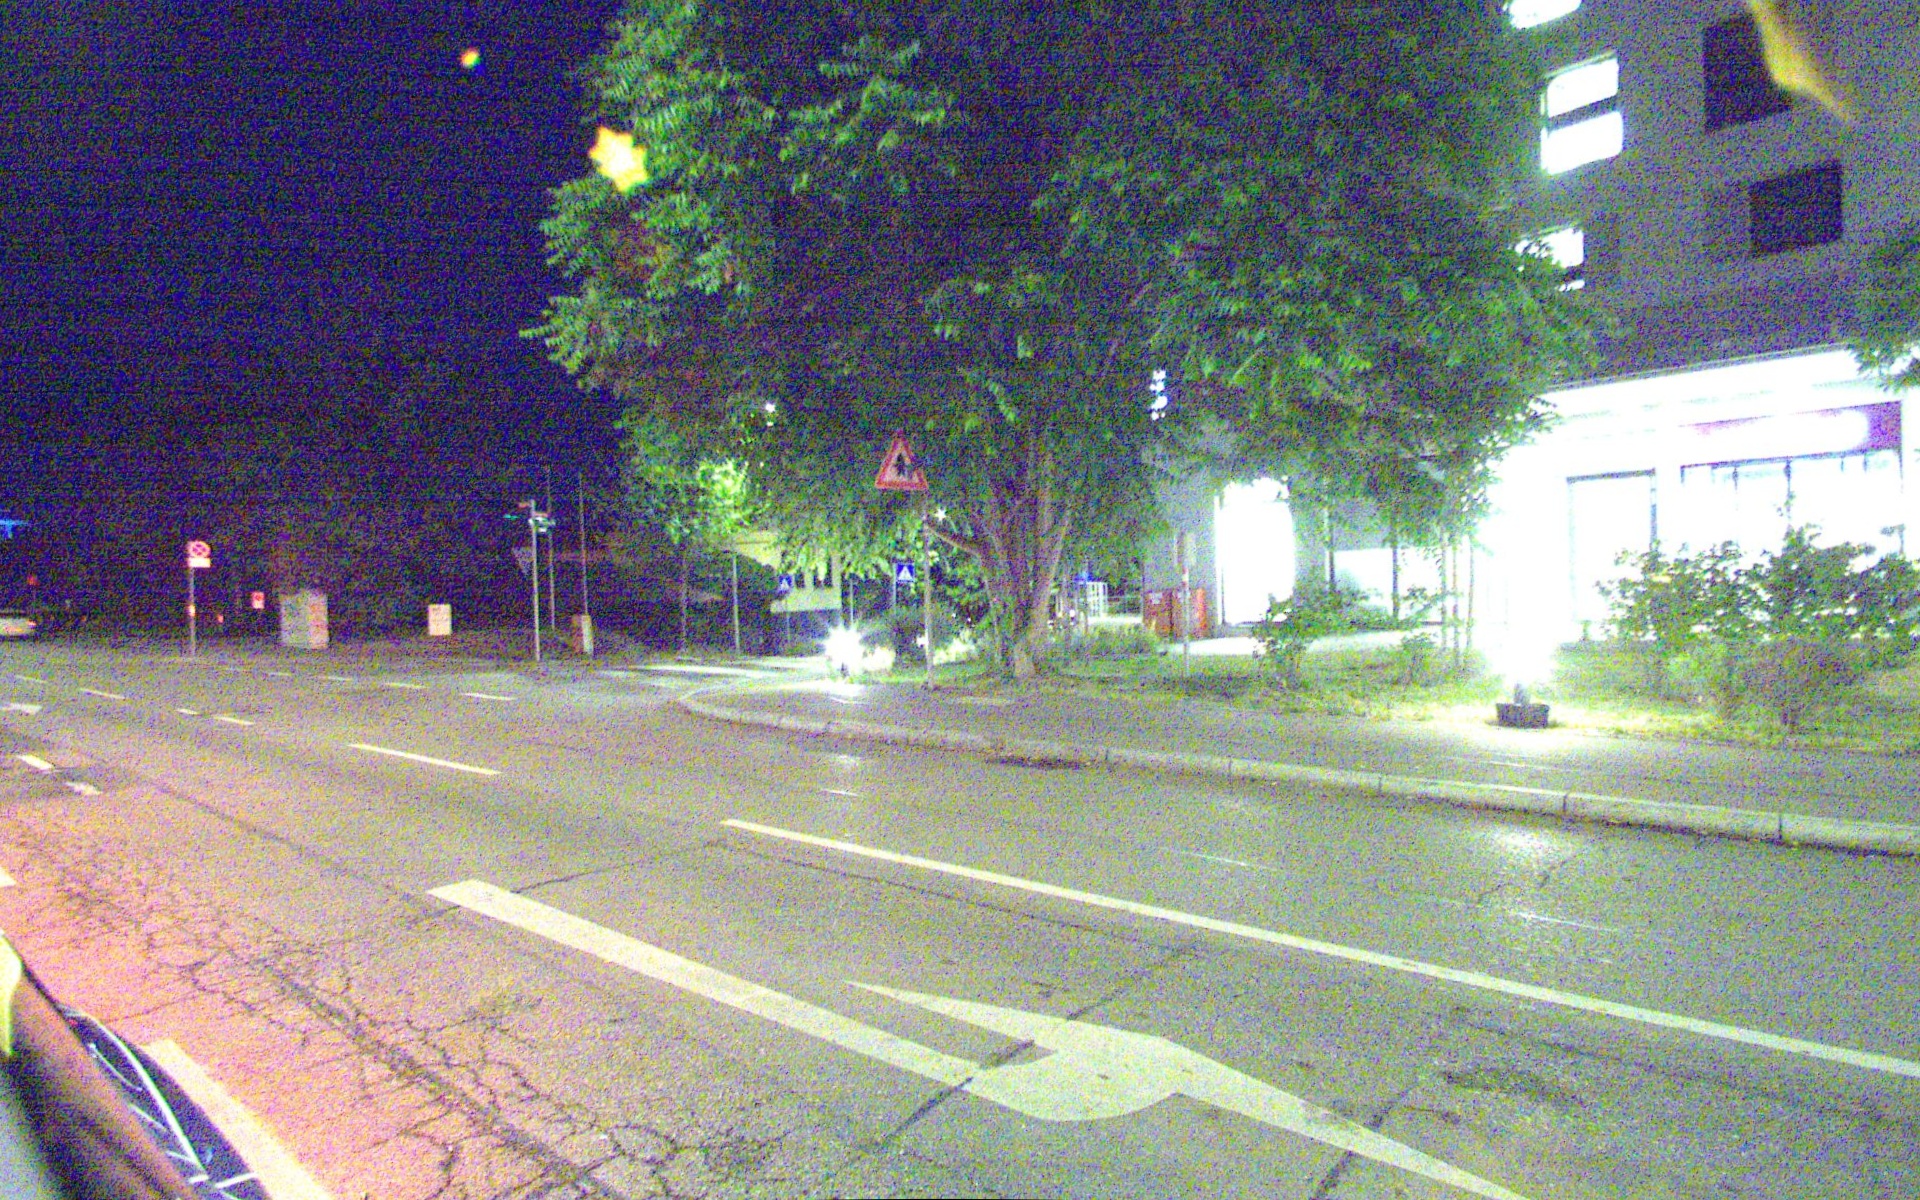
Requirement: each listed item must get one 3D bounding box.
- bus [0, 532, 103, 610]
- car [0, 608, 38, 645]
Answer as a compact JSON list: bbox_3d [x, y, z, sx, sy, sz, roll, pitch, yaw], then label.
[{"bbox_3d":[-88.448,-2.554,98.119,14.776,6.990,6.056,-1,0,41],"label":"bus"},{"bbox_3d":[-43.183,1.174,45.655,3.996,1.604,1.784,-1,0,40],"label":"car"}]
